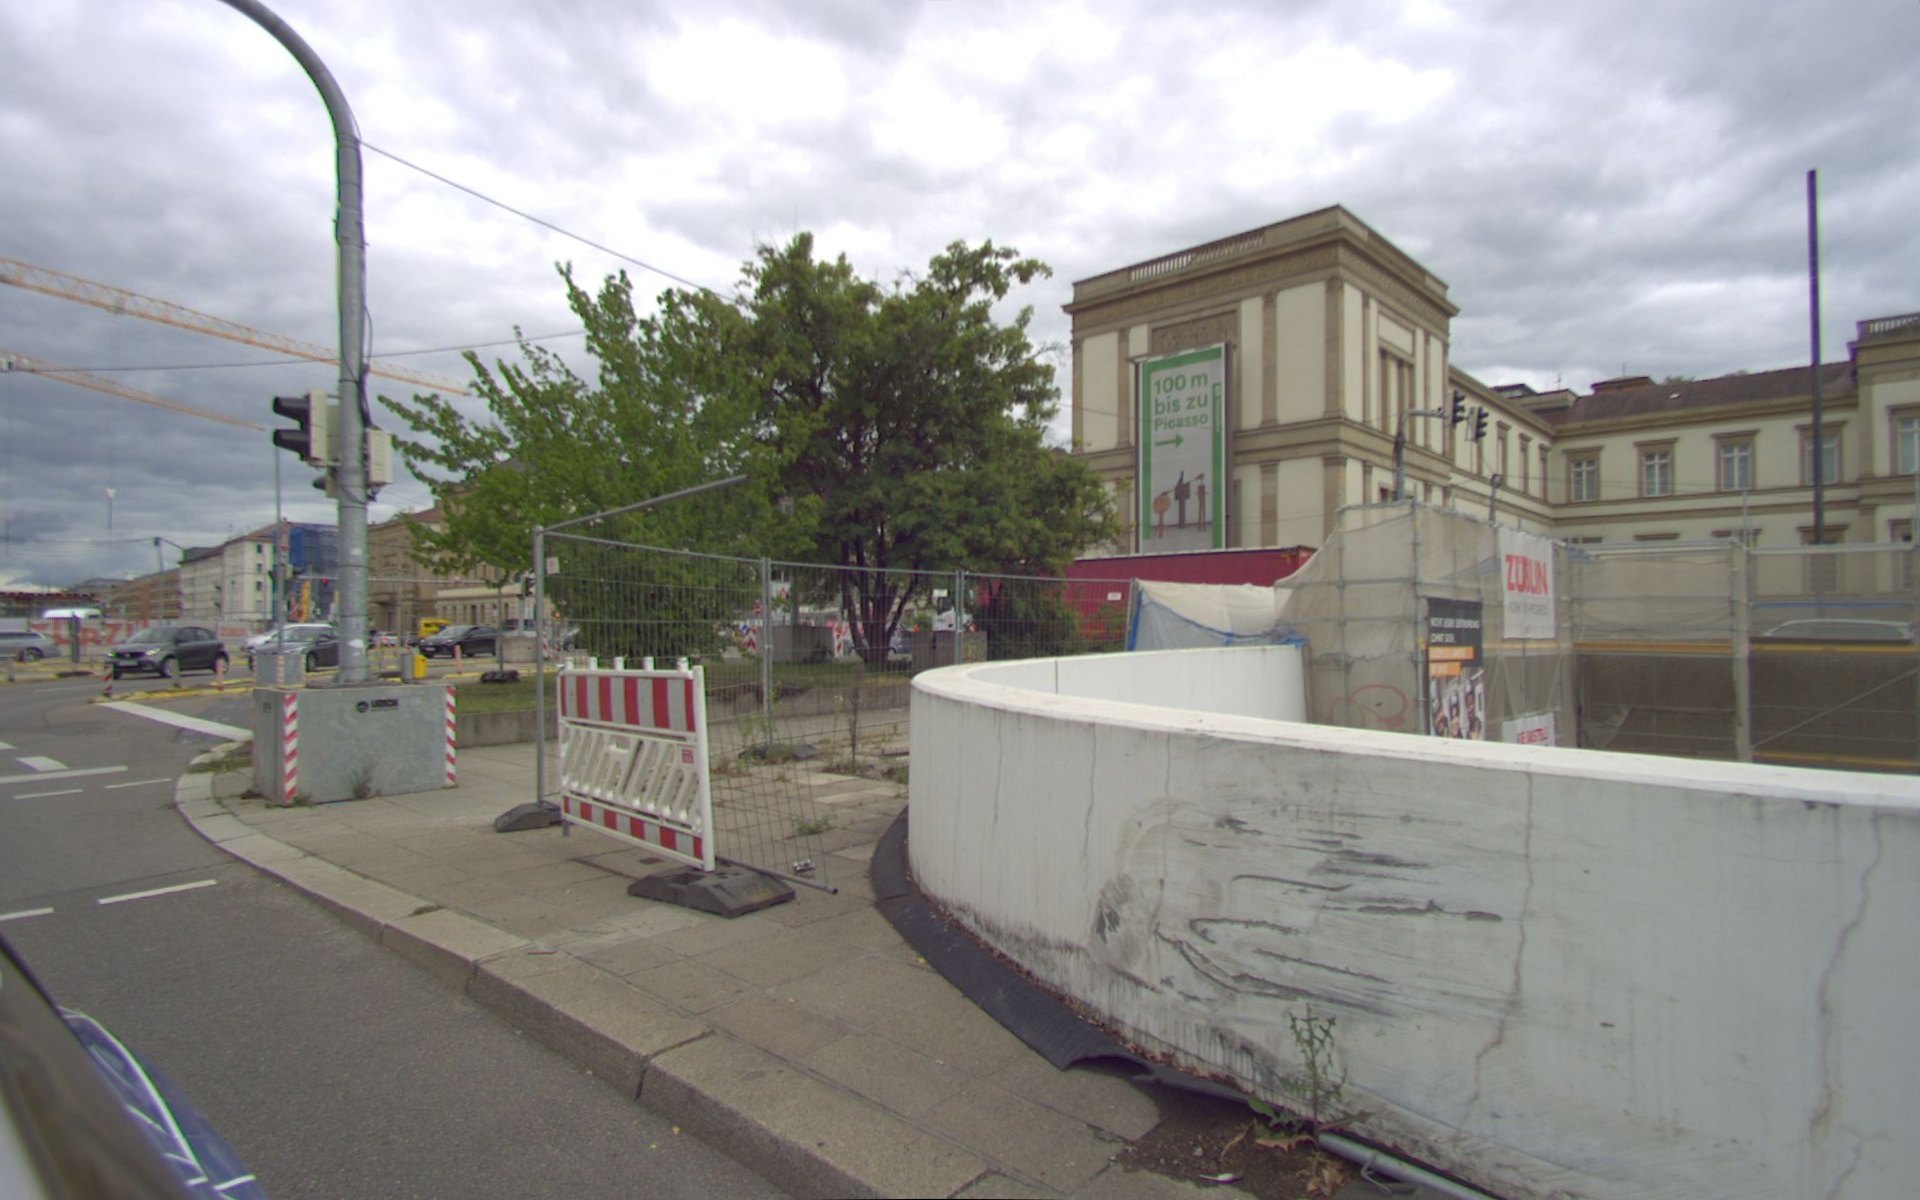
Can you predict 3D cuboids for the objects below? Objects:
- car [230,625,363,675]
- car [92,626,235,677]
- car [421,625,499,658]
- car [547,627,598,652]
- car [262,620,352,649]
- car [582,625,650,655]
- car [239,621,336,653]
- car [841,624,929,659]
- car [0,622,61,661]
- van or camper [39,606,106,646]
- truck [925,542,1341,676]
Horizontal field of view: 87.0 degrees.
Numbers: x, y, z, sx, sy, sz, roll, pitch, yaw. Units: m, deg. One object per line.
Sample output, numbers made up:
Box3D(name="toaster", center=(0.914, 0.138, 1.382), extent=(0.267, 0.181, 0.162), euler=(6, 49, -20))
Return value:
Box3D(name="car", center=(-21.317, 1.571, 32.718), extent=(1.826, 1.431, 4.109), euler=(-1, -1, -4))
Box3D(name="car", center=(-24.052, 1.535, 30.730), extent=(1.555, 1.430, 3.572), euler=(1, -2, -2))
Box3D(name="car", center=(-23.385, 1.909, 47.488), extent=(1.849, 1.431, 4.109), euler=(-1, -1, -4))
Box3D(name="car", center=(-24.344, 2.473, 63.715), extent=(1.849, 1.431, 4.109), euler=(-1, -1, -4))
Box3D(name="car", center=(-33.703, 1.799, 52.286), extent=(3.646, 1.400, 1.730), euler=(3, -3, -42))
Box3D(name="car", center=(-18.462, 2.131, 54.503), extent=(1.855, 1.431, 4.095), euler=(-1, -1, 8))
Box3D(name="car", center=(-35.926, 1.996, 54.146), extent=(1.692, 1.586, 4.015), euler=(-4, -4, 41))
Box3D(name="car", center=(-3.493, 1.913, 46.545), extent=(4.132, 1.515, 1.746), euler=(-3, -3, 44))
Box3D(name="car", center=(-41.172, 1.765, 42.707), extent=(1.909, 1.591, 4.622), euler=(-1, -1, 38))
Box3D(name="van or camper", center=(-51.280, 1.459, 58.571), extent=(1.965, 2.244, 4.013), euler=(1, 0, -27))
Box3D(name="truck", center=(5.525, 0.548, 37.967), extent=(16.617, 4.114, 2.885), euler=(-2, -4, 44))
